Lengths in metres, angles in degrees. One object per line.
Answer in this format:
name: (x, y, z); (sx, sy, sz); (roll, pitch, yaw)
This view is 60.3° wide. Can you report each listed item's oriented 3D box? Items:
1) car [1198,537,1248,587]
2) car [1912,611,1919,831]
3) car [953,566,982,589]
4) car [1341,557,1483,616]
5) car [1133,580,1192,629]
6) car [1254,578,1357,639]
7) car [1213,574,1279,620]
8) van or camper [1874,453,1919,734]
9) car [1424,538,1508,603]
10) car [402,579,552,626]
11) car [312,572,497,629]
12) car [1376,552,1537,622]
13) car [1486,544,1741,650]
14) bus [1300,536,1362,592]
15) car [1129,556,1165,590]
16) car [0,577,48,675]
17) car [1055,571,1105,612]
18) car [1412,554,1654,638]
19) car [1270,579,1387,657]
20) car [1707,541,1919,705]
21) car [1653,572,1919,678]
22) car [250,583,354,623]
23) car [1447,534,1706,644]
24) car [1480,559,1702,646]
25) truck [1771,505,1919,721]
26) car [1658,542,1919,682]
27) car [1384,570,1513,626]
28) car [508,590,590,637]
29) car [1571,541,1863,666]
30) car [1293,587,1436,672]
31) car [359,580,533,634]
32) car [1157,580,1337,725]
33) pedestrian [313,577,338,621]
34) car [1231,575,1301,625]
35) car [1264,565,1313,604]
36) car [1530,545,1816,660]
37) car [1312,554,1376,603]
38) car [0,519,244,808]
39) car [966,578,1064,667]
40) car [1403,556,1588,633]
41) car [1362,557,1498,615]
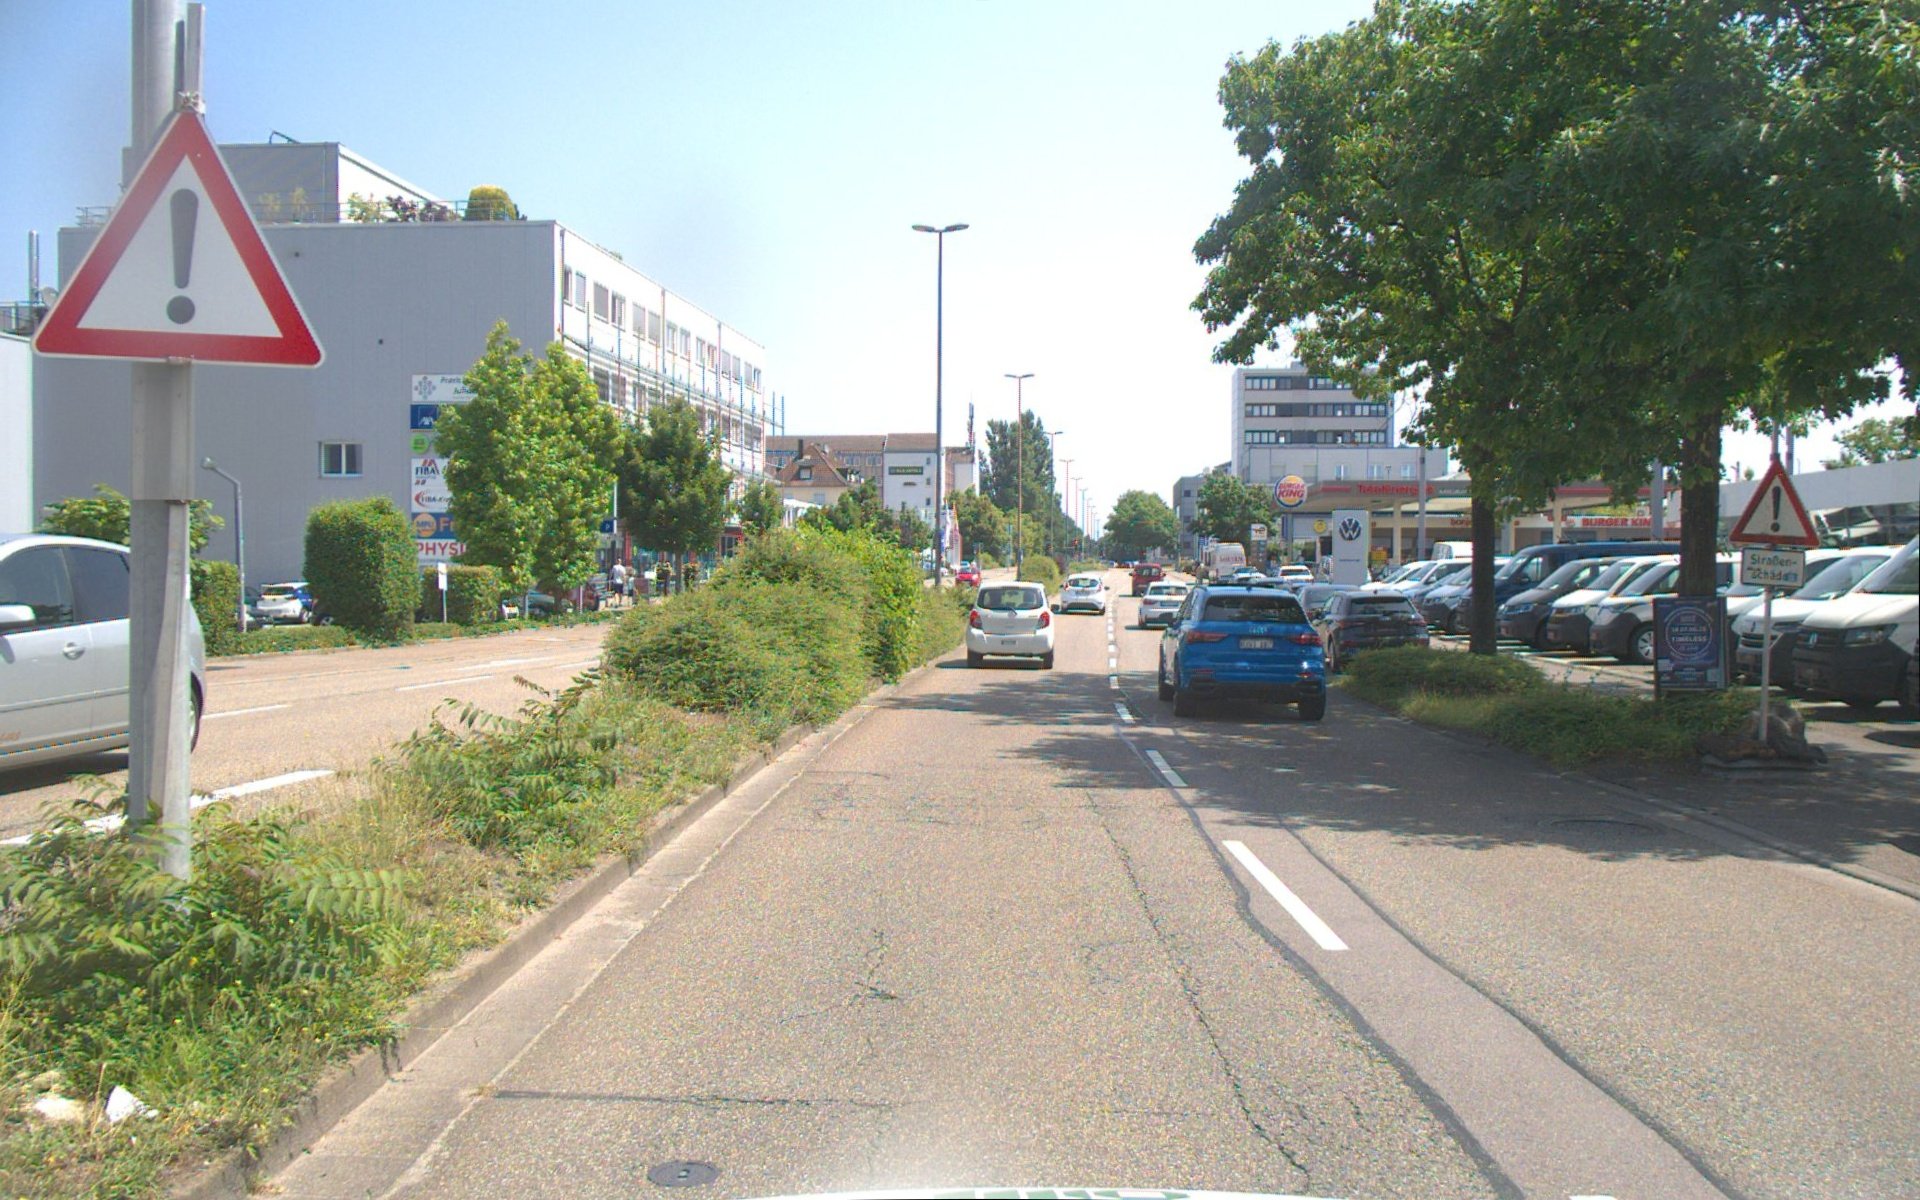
car: (16.715, -2.426, 105.460); (2.089, 2.888, 7.312); (-6, 1, 3)
car: (7.018, 0.827, 8.656); (1.760, 1.430, 4.322); (2, 0, 3)
car: (0.535, -1.525, 113.080); (1.596, 1.449, 3.453); (-2, 0, 6)
car: (15.699, -0.445, 57.582); (4.460, 1.921, 1.858); (-1, -1, 4)
car: (6.195, 0.127, 50.915); (1.632, 1.424, 3.795); (1, 0, 5)
car: (9.087, 0.177, 43.892); (1.816, 1.507, 5.158); (0, 1, 2)
car: (10.424, -0.145, 60.572); (1.697, 1.579, 4.181); (1, 1, 0)
van or camper: (13.383, -0.086, 17.005); (6.653, 2.948, 2.277); (0, 1, 4)
car: (22.335, -1.343, 73.290); (2.208, 2.722, 7.023); (0, 1, 5)
car: (-14.107, 0.065, 48.445); (3.757, 1.252, 1.861); (-1, 1, 4)
car: (-14.440, -0.005, 43.140); (4.062, 1.365, 2.044); (-1, 1, 3)
car: (15.739, -0.427, 52.593); (4.543, 2.048, 1.961); (-2, 1, 3)
car: (14.336, -0.085, 36.514); (4.796, 2.151, 2.130); (-1, 1, 4)
bus: (22.230, -2.282, 99.726); (2.744, 3.132, 12.297); (1, 2, 9)
car: (10.294, -1.449, 91.255); (1.757, 1.759, 3.974); (1, 0, 3)
car: (-16.397, 0.399, 25.375); (3.905, 1.485, 1.575); (0, -1, 0)
car: (4.514, -0.318, 62.440); (1.791, 1.475, 4.002); (1, 0, 4)
car: (15.290, -0.115, 44.449); (5.768, 2.049, 2.261); (1, 1, 7)
car: (8.374, 0.357, 38.010); (1.919, 1.556, 5.164); (-2, 1, 5)
car: (13.154, 0.282, 22.695); (4.844, 2.150, 2.160); (0, 1, 4)
car: (14.096, 0.391, 27.942); (3.942, 1.496, 1.914); (-3, 2, -2)
car: (-24.399, 0.119, 61.457); (1.951, 1.396, 4.002); (1, -1, 5)
car: (15.382, -0.264, 41.569); (5.719, 2.568, 2.206); (1, -1, 7)
car: (14.775, 0.034, 38.922); (4.471, 1.883, 1.953); (-1, 1, 4)
truck: (12.866, 0.088, 19.901); (5.136, 2.478, 2.113); (-1, 1, 6)
car: (13.559, 0.155, 25.374); (4.809, 2.005, 2.143); (-1, 0, 5)
car: (14.728, -0.077, 49.990); (3.553, 1.598, 1.718); (1, 1, 11)
car: (-14.470, 0.439, 58.383); (1.624, 1.493, 3.800); (-2, 1, 4)
car: (14.069, 0.074, 30.999); (4.414, 2.049, 2.199); (-3, -1, 6)
car: (7.520, 0.498, 31.146); (1.647, 1.460, 4.440); (-1, 1, 1)
car: (-14.233, 0.177, 45.952); (4.134, 1.372, 1.982); (-1, 1, 4)
car: (3.591, 0.577, 21.385); (1.872, 1.625, 4.398); (1, 1, 4)
pedestrian: (-23.404, -0.043, 61.011); (0.595, 1.615, 0.720); (1, -1, 4)
car: (10.150, -0.013, 55.197); (1.677, 1.575, 4.793); (-1, 1, 3)
car: (14.629, -0.713, 73.767); (1.632, 1.623, 4.616); (-1, 1, 5)
car: (14.574, 0.050, 34.037); (4.958, 2.133, 2.041); (-2, 1, 4)
car: (17.007, -0.965, 73.489); (1.951, 2.058, 5.164); (1, 1, 4)
car: (-6.349, 0.372, 10.344); (1.743, 1.657, 4.340); (-1, 0, 1)
car: (0.974, 0.421, 30.972); (1.677, 1.537, 3.246); (1, -1, 0)
car: (15.251, -0.188, 47.323); (4.685, 2.018, 2.006); (1, 3, 6)
car: (15.744, -0.455, 55.538); (4.063, 1.812, 1.882); (-1, -1, 4)
